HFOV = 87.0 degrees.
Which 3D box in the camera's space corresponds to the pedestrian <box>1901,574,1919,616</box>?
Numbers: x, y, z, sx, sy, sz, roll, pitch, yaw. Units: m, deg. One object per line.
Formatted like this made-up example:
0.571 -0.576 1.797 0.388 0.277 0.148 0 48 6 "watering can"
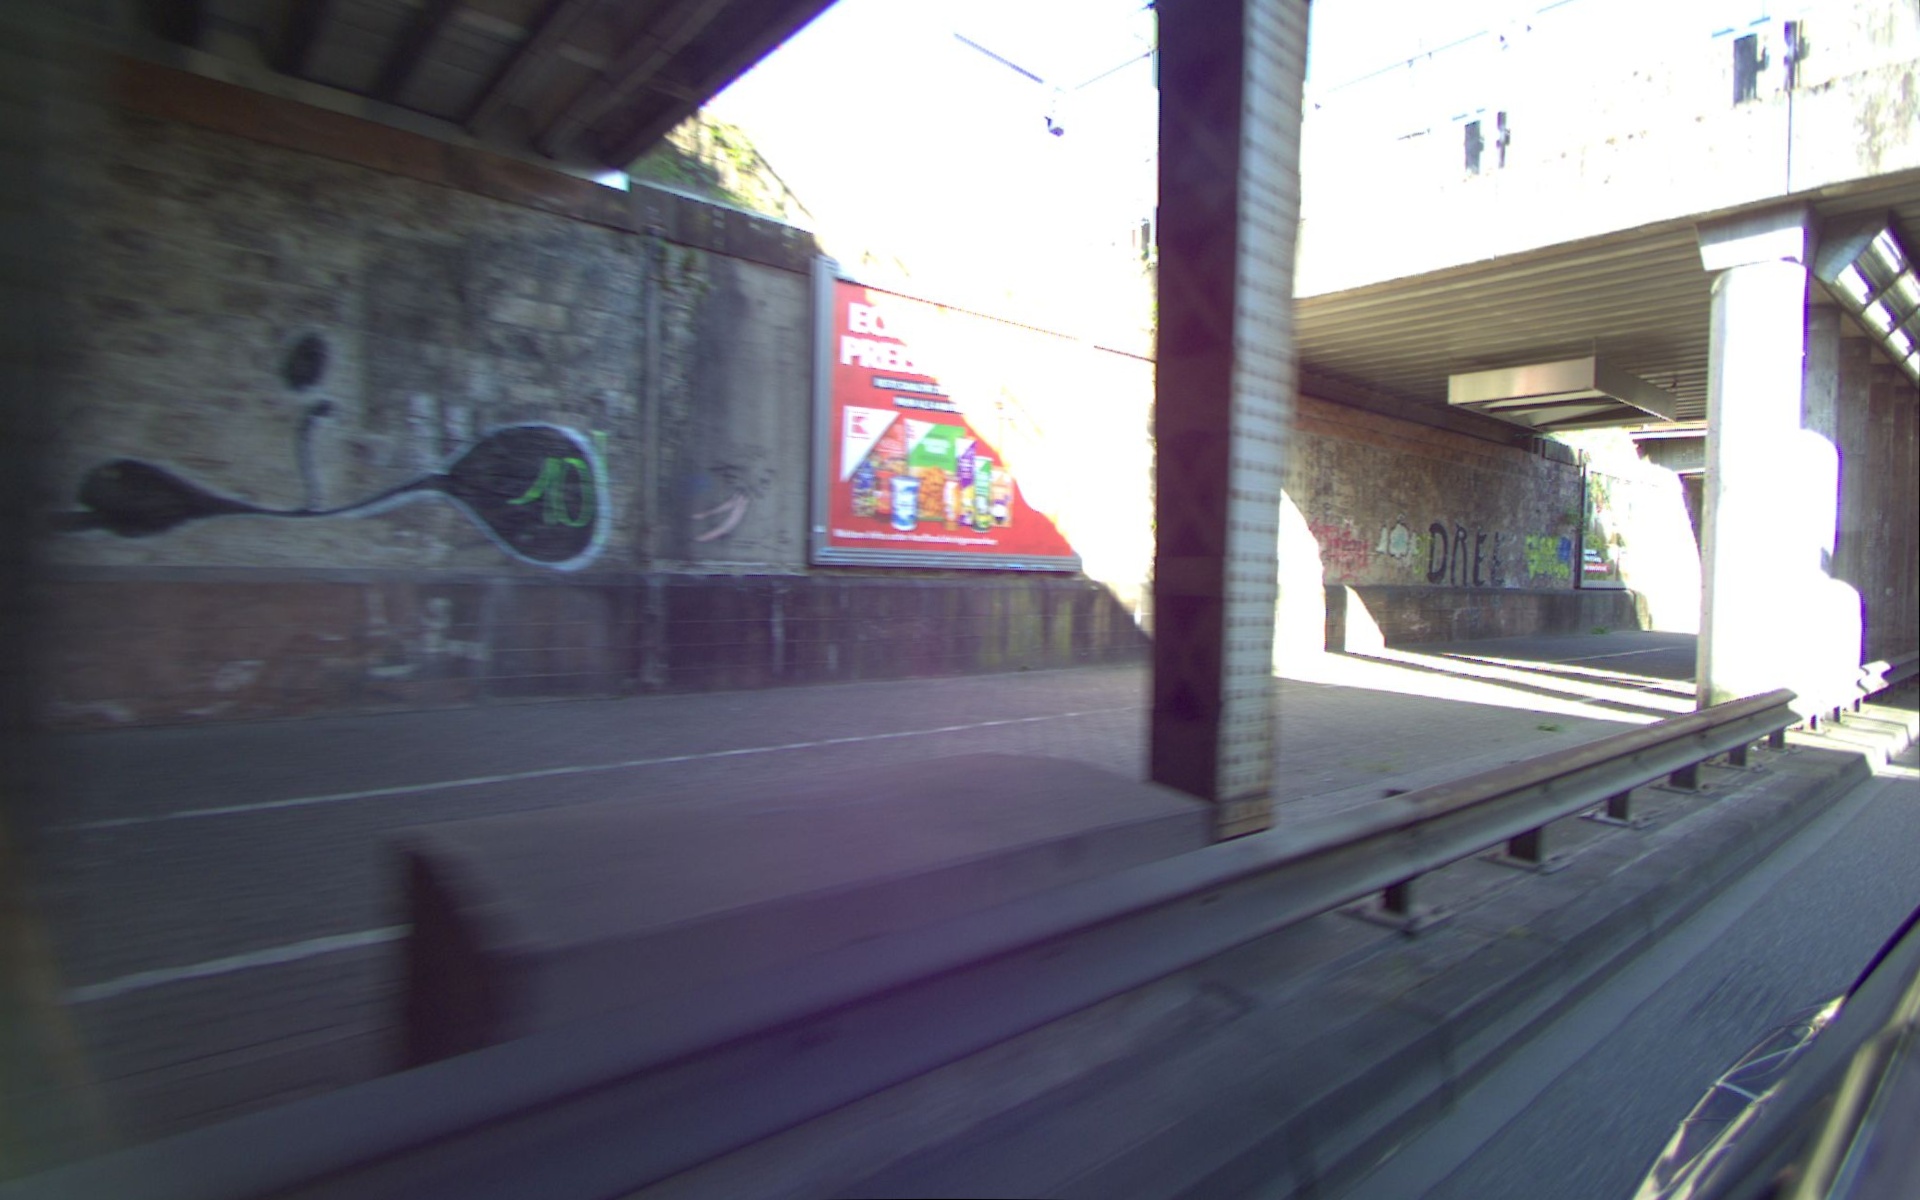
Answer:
43.751 -0.225 46.272 0.907 1.857 0.881 0 4 -43 "pedestrian"
